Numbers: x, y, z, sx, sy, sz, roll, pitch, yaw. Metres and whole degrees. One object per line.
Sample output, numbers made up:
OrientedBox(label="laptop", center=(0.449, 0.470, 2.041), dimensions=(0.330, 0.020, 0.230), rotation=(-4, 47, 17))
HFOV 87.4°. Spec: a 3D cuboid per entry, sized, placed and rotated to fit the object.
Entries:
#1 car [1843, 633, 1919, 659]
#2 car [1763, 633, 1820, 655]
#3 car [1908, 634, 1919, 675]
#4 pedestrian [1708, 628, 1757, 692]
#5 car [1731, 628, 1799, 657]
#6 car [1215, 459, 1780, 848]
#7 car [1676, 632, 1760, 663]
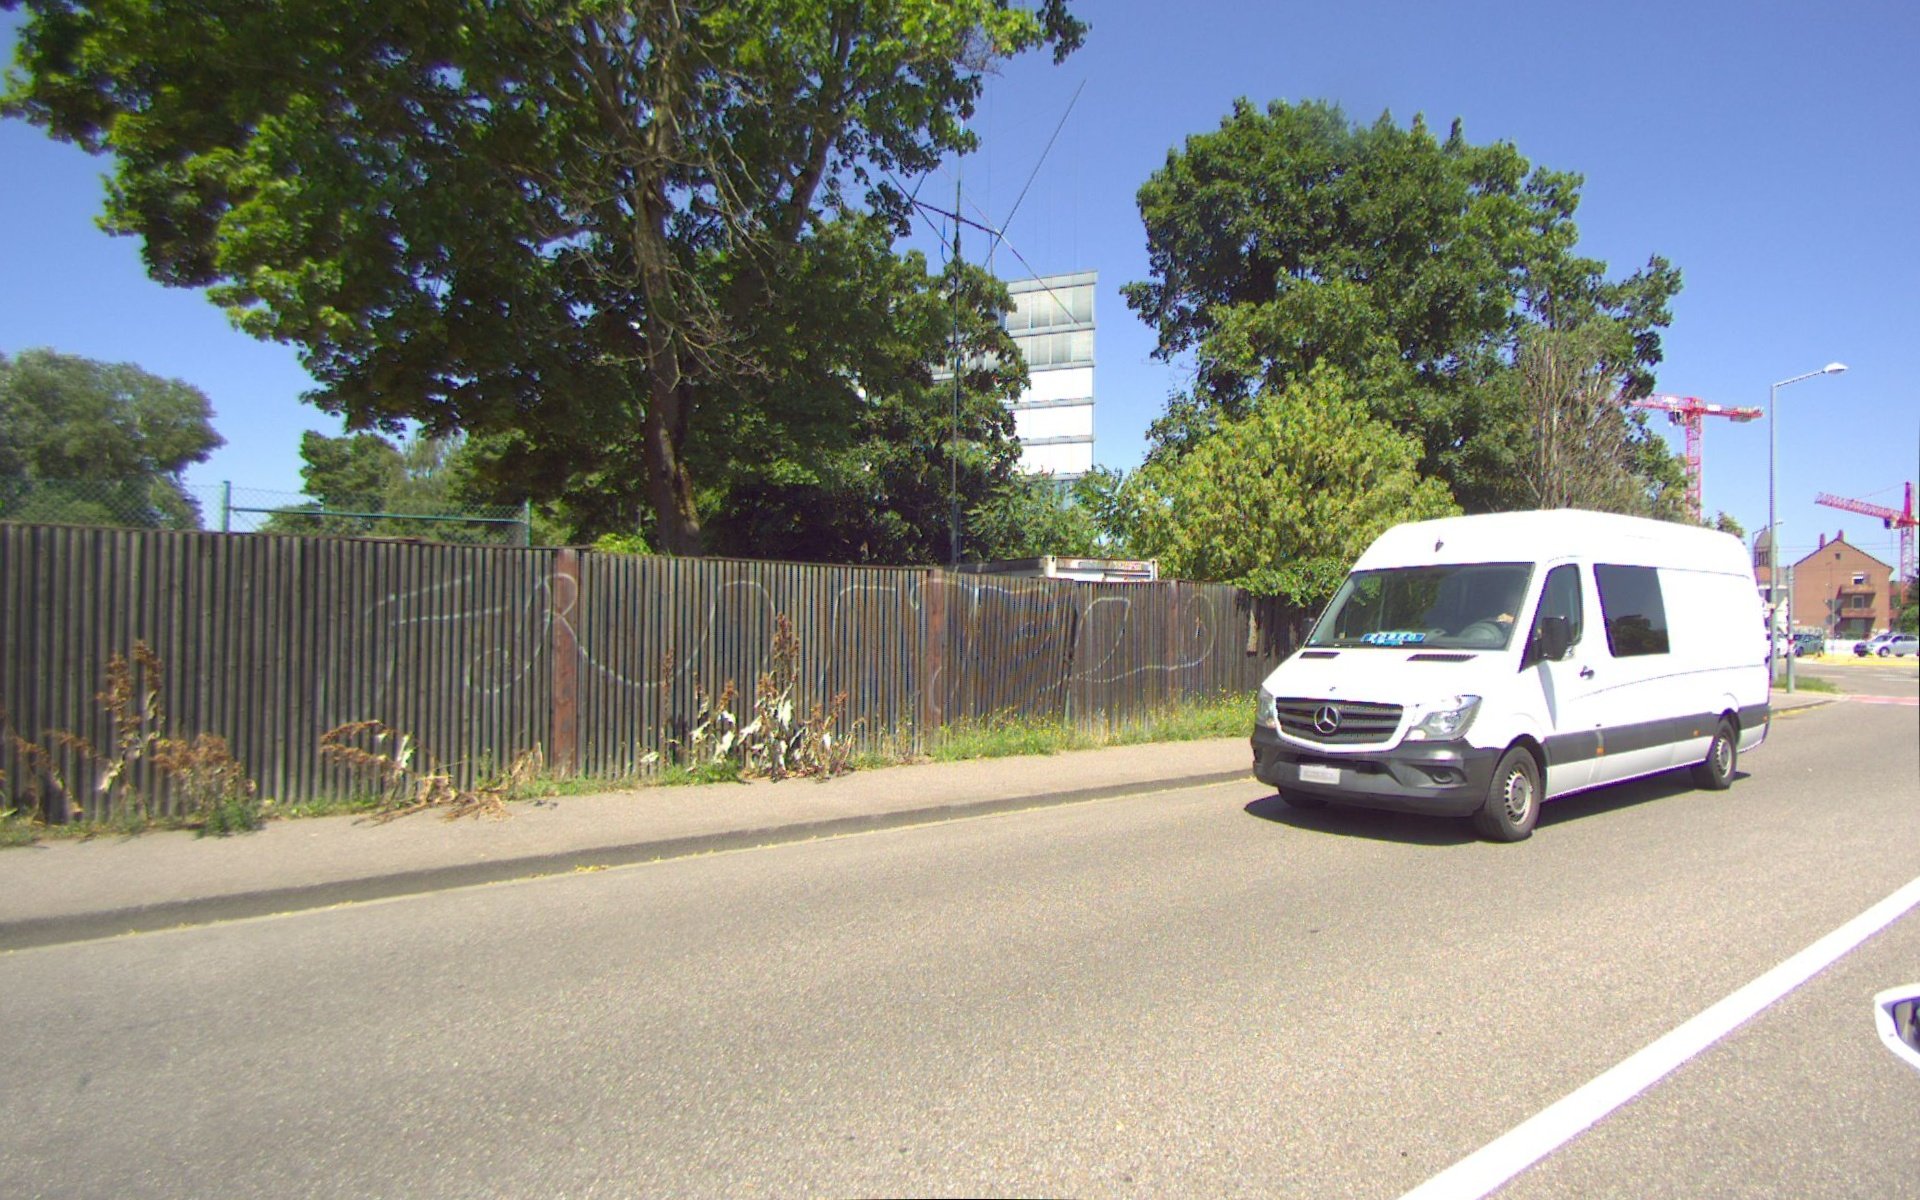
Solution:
OrientedBox(label="car", center=(59.801, 2.961, 64.775), dimensions=(4.136, 1.520, 1.713), rotation=(1, -1, 3))
OrientedBox(label="car", center=(50.866, 2.687, 61.430), dimensions=(3.747, 1.253, 1.697), rotation=(2, -1, -34))
OrientedBox(label="car", center=(35.626, 1.967, 34.667), dimensions=(1.604, 1.463, 4.011), rotation=(1, -1, -13))
OrientedBox(label="pedestrian", center=(20.034, 1.539, 26.079), dimensions=(0.795, 1.584, 0.876), rotation=(1, 0, 24))
OrientedBox(label="car", center=(46.379, 2.461, 57.851), dimensions=(3.953, 1.570, 1.748), rotation=(2, -1, -30))
OrientedBox(label="car", center=(5.403, 0.465, 9.481), dimensions=(6.763, 2.572, 2.006), rotation=(2, -2, -36))
OrientedBox(label="car", center=(40.217, 2.504, 53.416), dimensions=(1.959, 1.461, 4.204), rotation=(1, -1, 12))
